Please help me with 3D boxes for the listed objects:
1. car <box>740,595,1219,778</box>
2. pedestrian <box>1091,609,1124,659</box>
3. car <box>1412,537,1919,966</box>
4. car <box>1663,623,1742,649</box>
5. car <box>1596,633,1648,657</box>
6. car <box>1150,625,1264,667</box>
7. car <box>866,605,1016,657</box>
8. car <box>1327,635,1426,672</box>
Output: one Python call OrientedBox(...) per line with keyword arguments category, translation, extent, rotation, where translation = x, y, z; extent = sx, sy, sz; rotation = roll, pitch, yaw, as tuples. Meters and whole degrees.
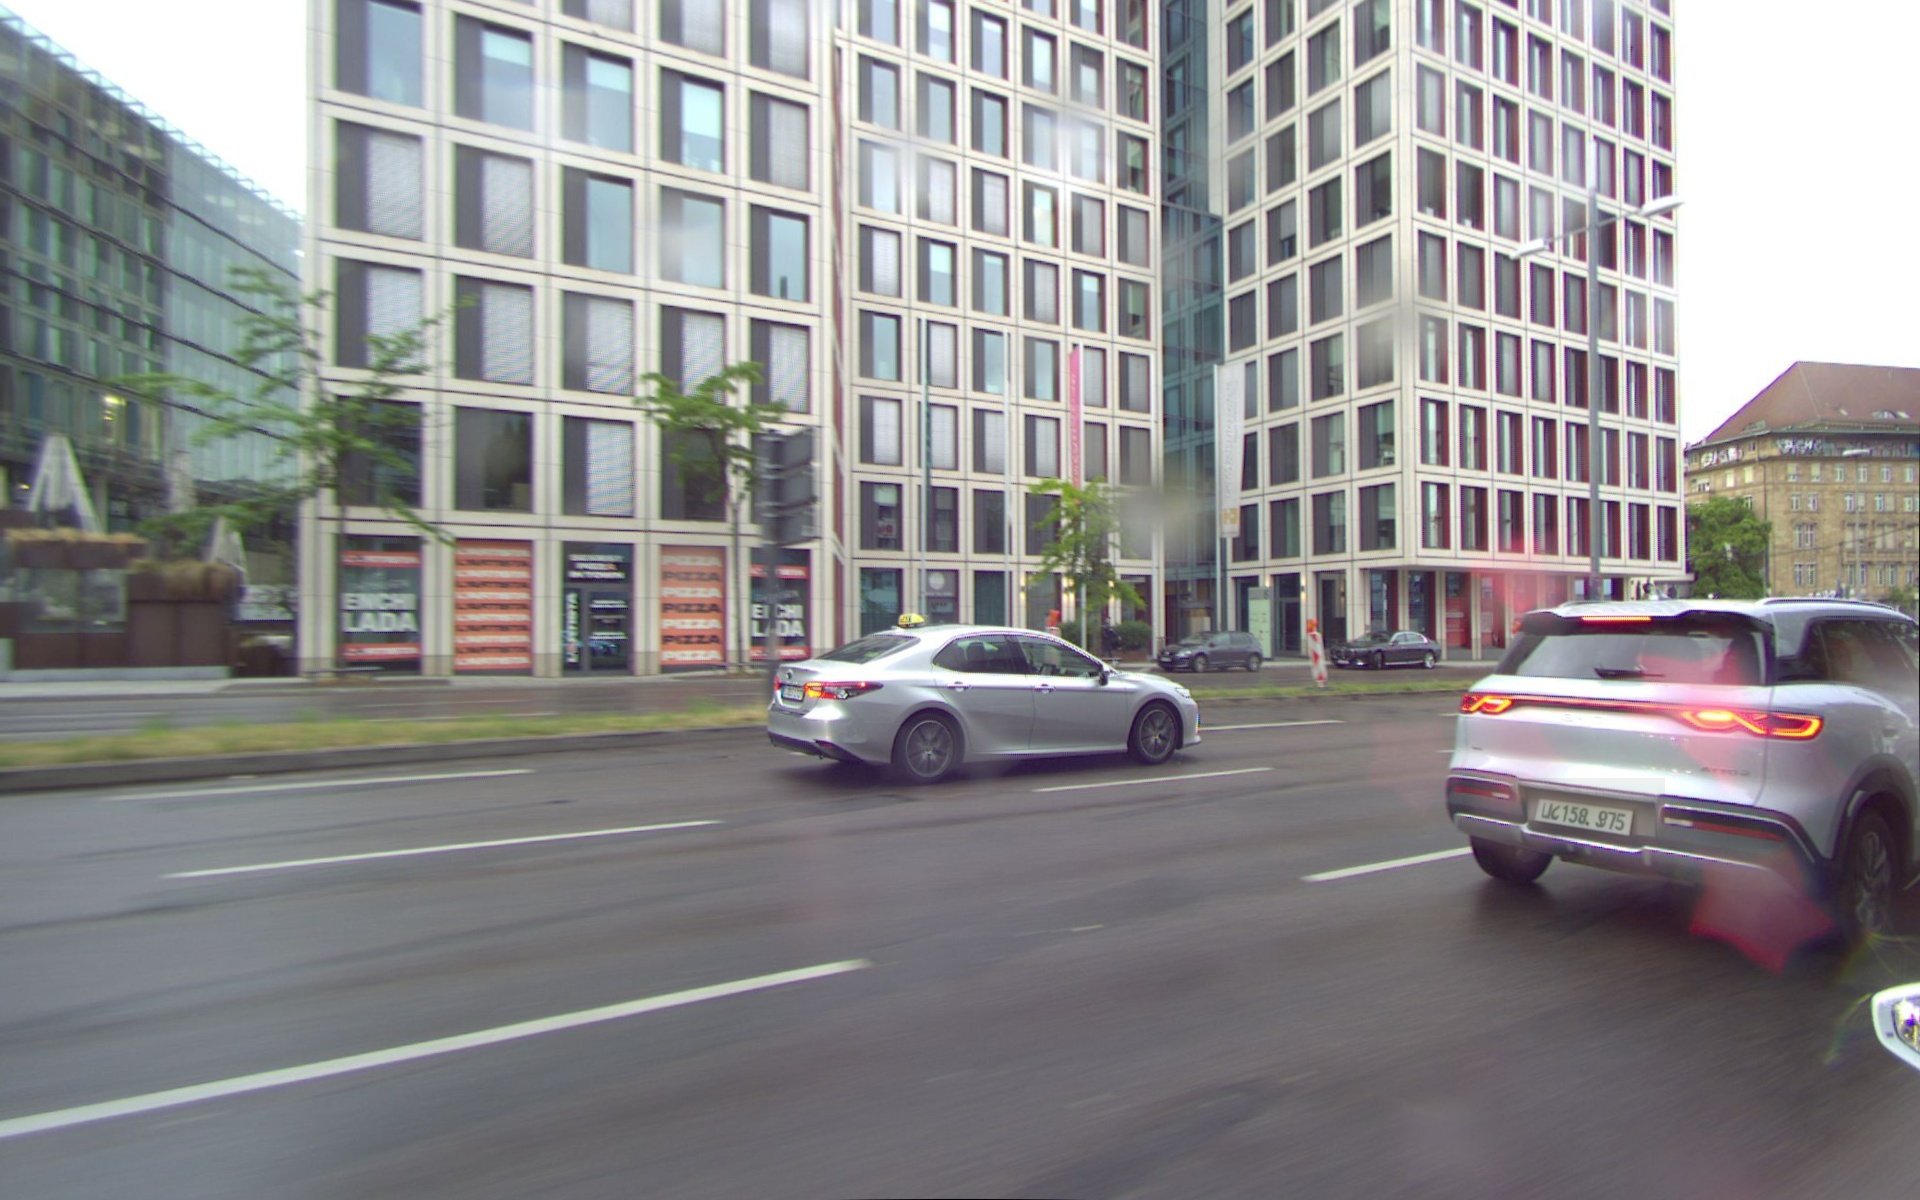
OrientedBox(category="car", translation=(0.317, 0.828, 10.487), extent=(4.748, 1.541, 1.821), rotation=(3, -1, -32))
OrientedBox(category="pedestrian", translation=(5.382, 1.238, 36.700), extent=(0.956, 1.757, 0.609), rotation=(3, -1, -30))
OrientedBox(category="car", translation=(4.719, 0.681, 5.796), extent=(4.123, 1.683, 1.799), rotation=(3, -1, -31))
OrientedBox(category="car", translation=(53.865, 2.610, 72.917), extent=(4.335, 1.684, 1.988), rotation=(1, -1, 44))
OrientedBox(category="car", translation=(47.585, 3.205, 72.265), extent=(1.641, 1.617, 4.003), rotation=(2, -1, 10))
OrientedBox(category="car", translation=(8.823, 1.660, 35.858), extent=(3.910, 1.442, 1.690), rotation=(2, -3, -31))
OrientedBox(category="car", translation=(-0.551, 0.980, 30.554), extent=(4.323, 1.442, 1.690), rotation=(2, -3, -31))
OrientedBox(category="car", translation=(16.716, 2.157, 40.272), extent=(3.910, 1.442, 1.690), rotation=(2, -3, -31))
